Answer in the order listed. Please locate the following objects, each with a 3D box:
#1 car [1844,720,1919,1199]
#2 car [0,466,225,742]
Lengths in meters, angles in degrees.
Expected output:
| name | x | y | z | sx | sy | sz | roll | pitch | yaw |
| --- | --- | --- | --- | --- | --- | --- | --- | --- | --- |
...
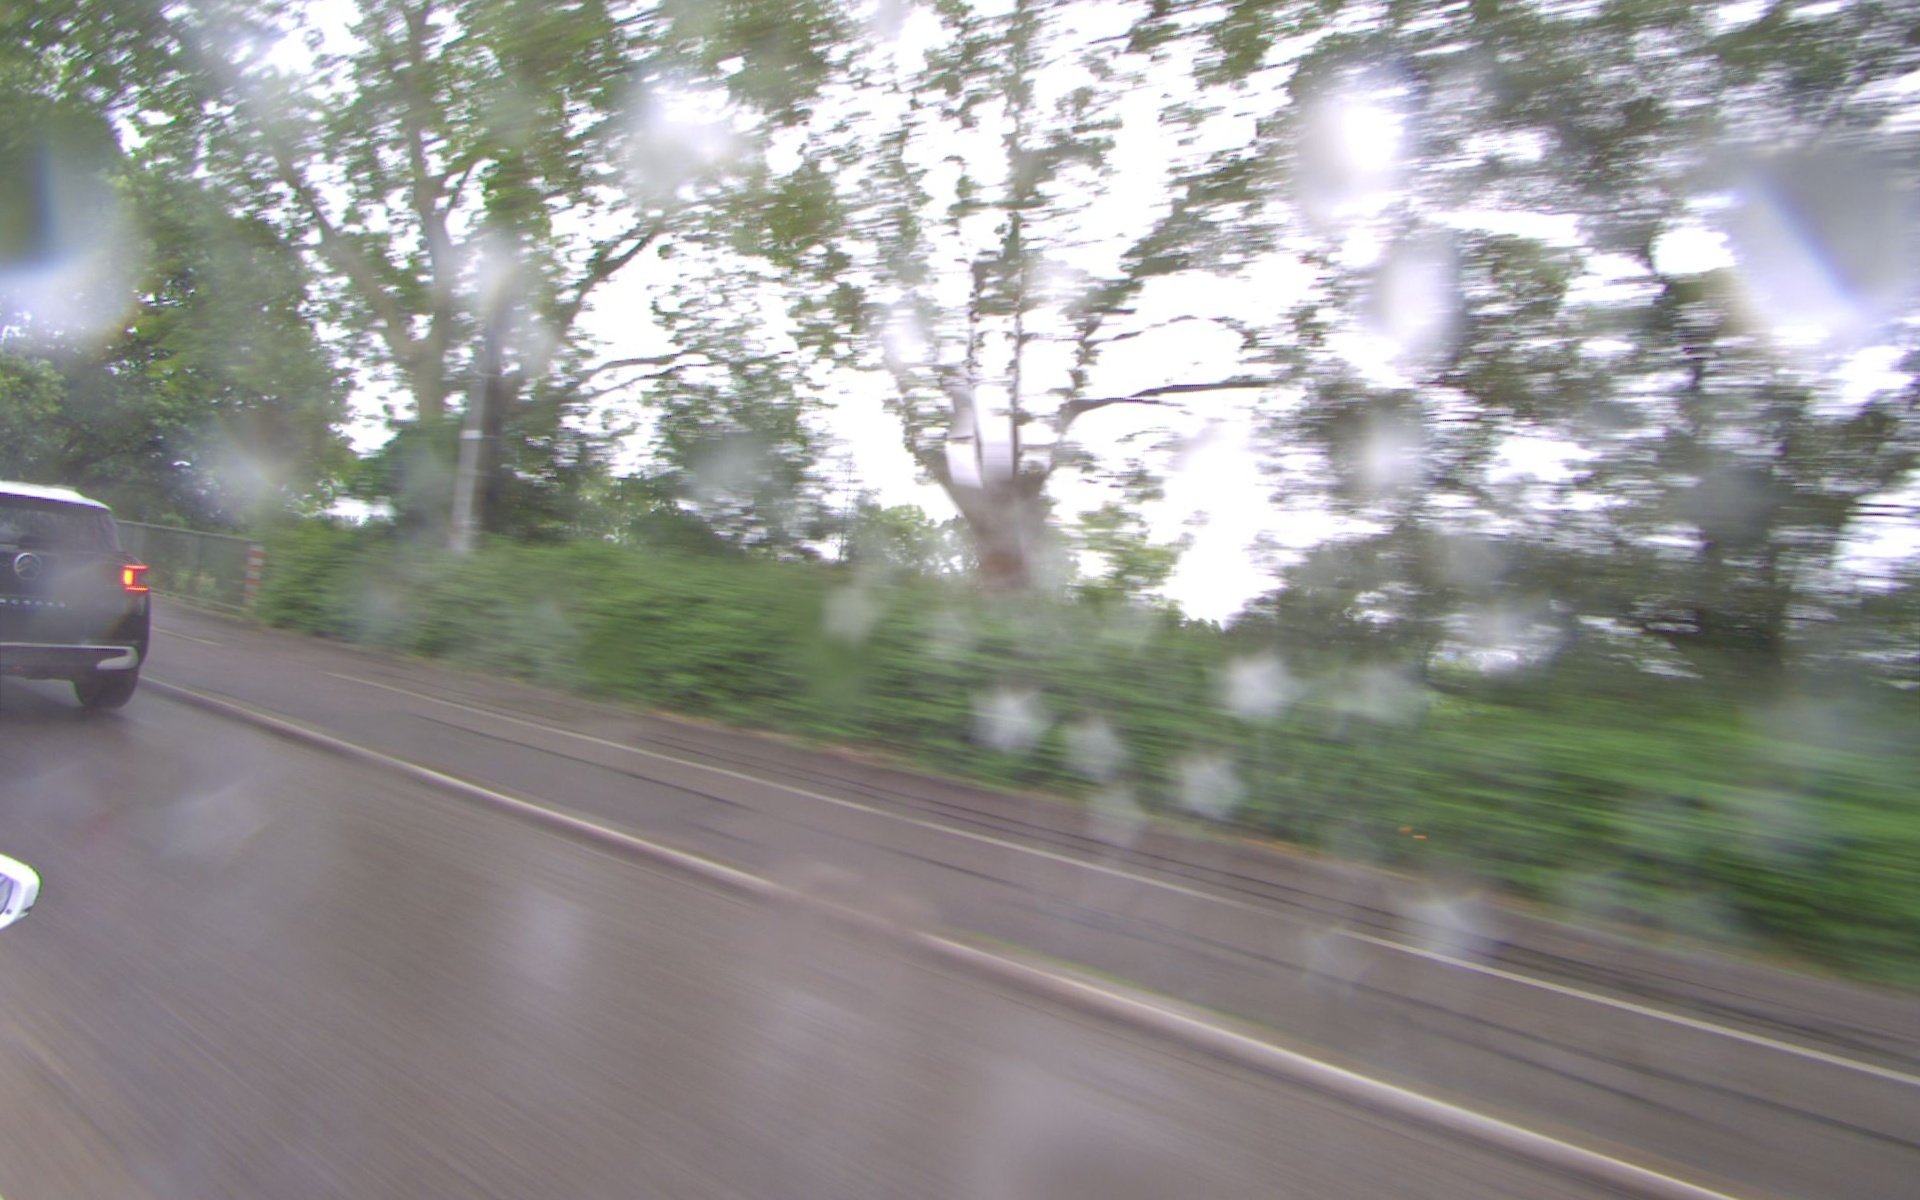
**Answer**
| name | x | y | z | sx | sy | sz | roll | pitch | yaw |
| --- | --- | --- | --- | --- | --- | --- | --- | --- | --- |
| car | 3.633 | 1.216 | 0.834 | 3.922 | 1.546 | 1.973 | 8 | -1 | 30 |
| car | -7.946 | -0.216 | 7.666 | 4.645 | 1.736 | 1.904 | 8 | -1 | 30 |
